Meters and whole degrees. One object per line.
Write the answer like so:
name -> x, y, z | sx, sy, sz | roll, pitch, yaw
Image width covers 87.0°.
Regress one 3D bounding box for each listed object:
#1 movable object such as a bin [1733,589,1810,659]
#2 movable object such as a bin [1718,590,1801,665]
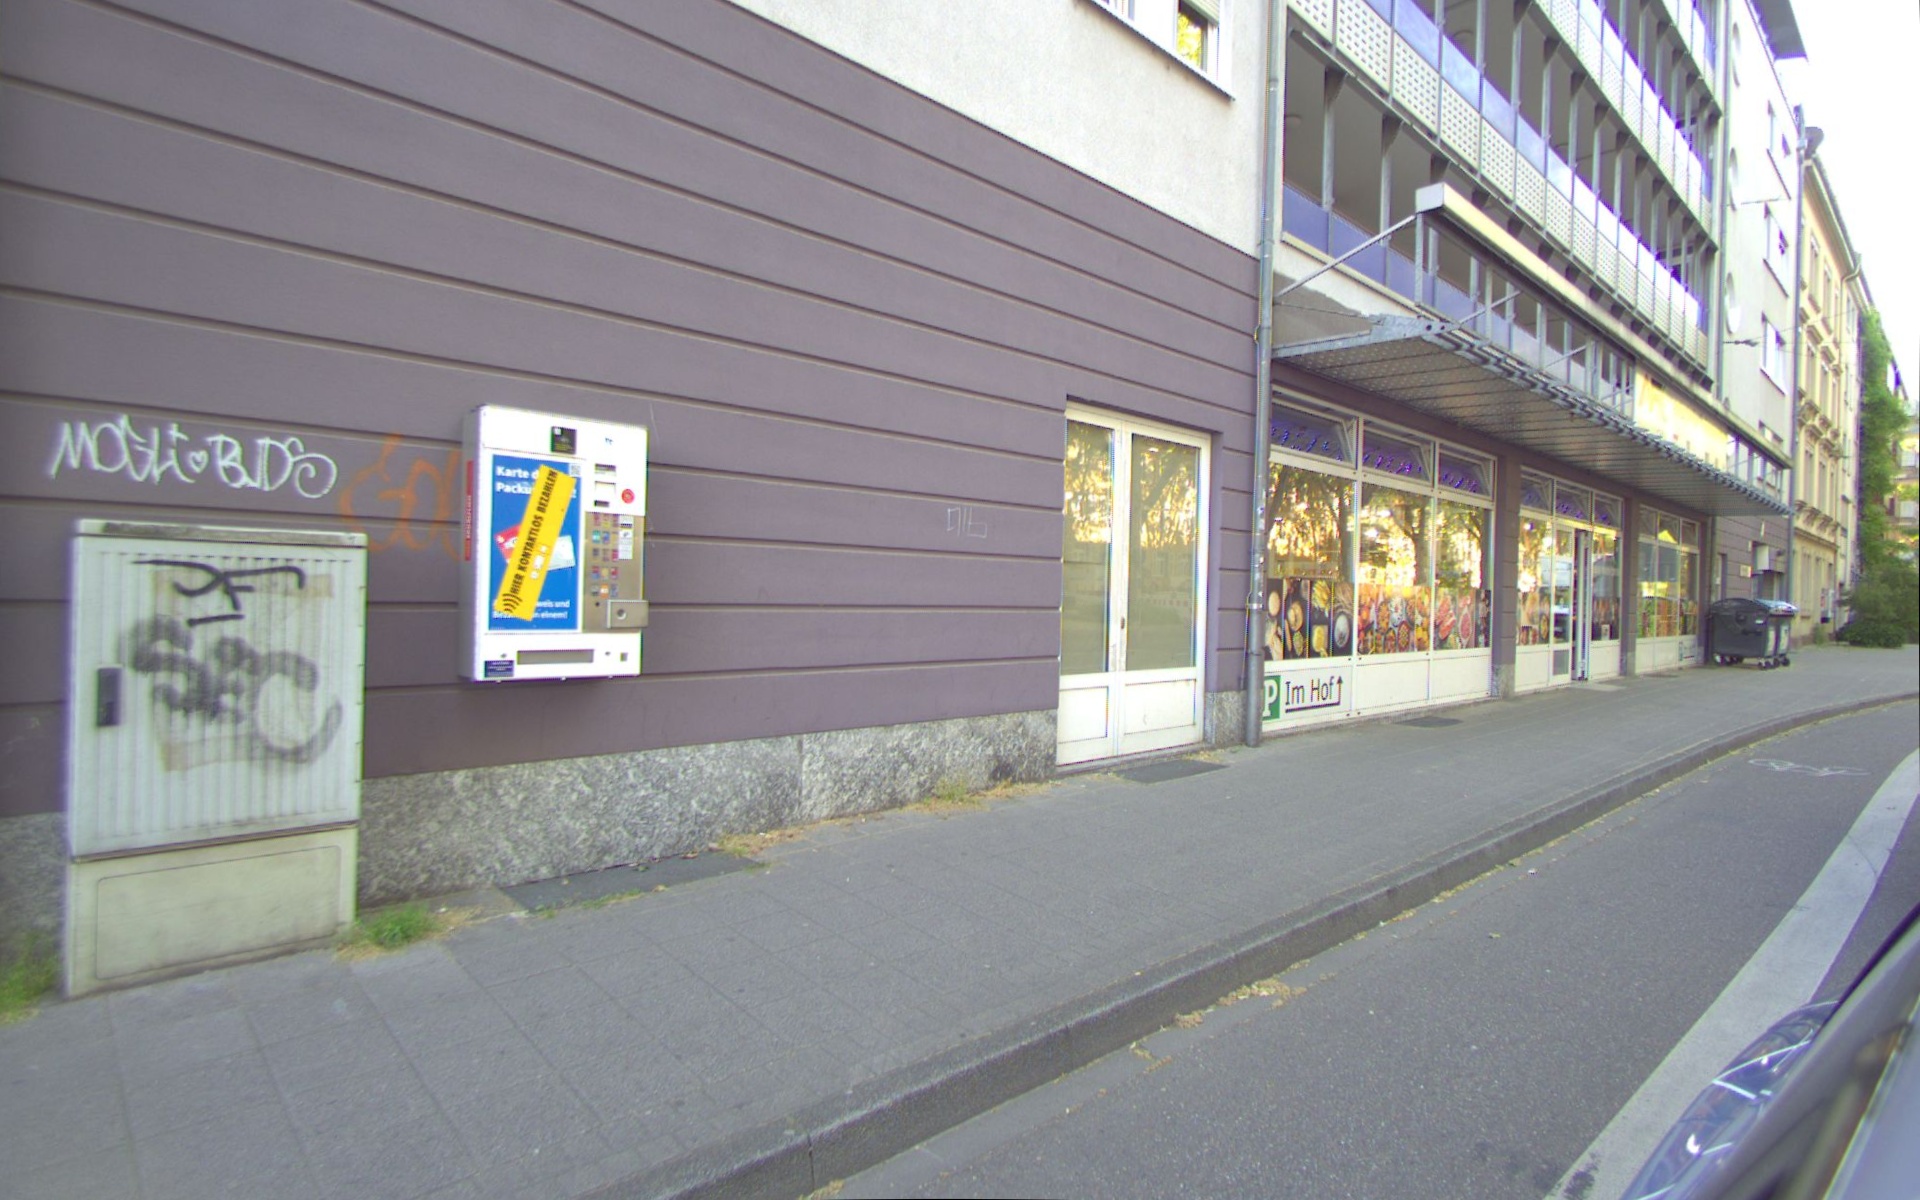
movable object such as a bin -> 17.761, 0.508, 22.154 | 0.923, 1.444, 1.158 | 1, 1, -40
movable object such as a bin -> 16.357, 0.542, 20.713 | 0.923, 1.444, 1.158 | 1, 1, -40
